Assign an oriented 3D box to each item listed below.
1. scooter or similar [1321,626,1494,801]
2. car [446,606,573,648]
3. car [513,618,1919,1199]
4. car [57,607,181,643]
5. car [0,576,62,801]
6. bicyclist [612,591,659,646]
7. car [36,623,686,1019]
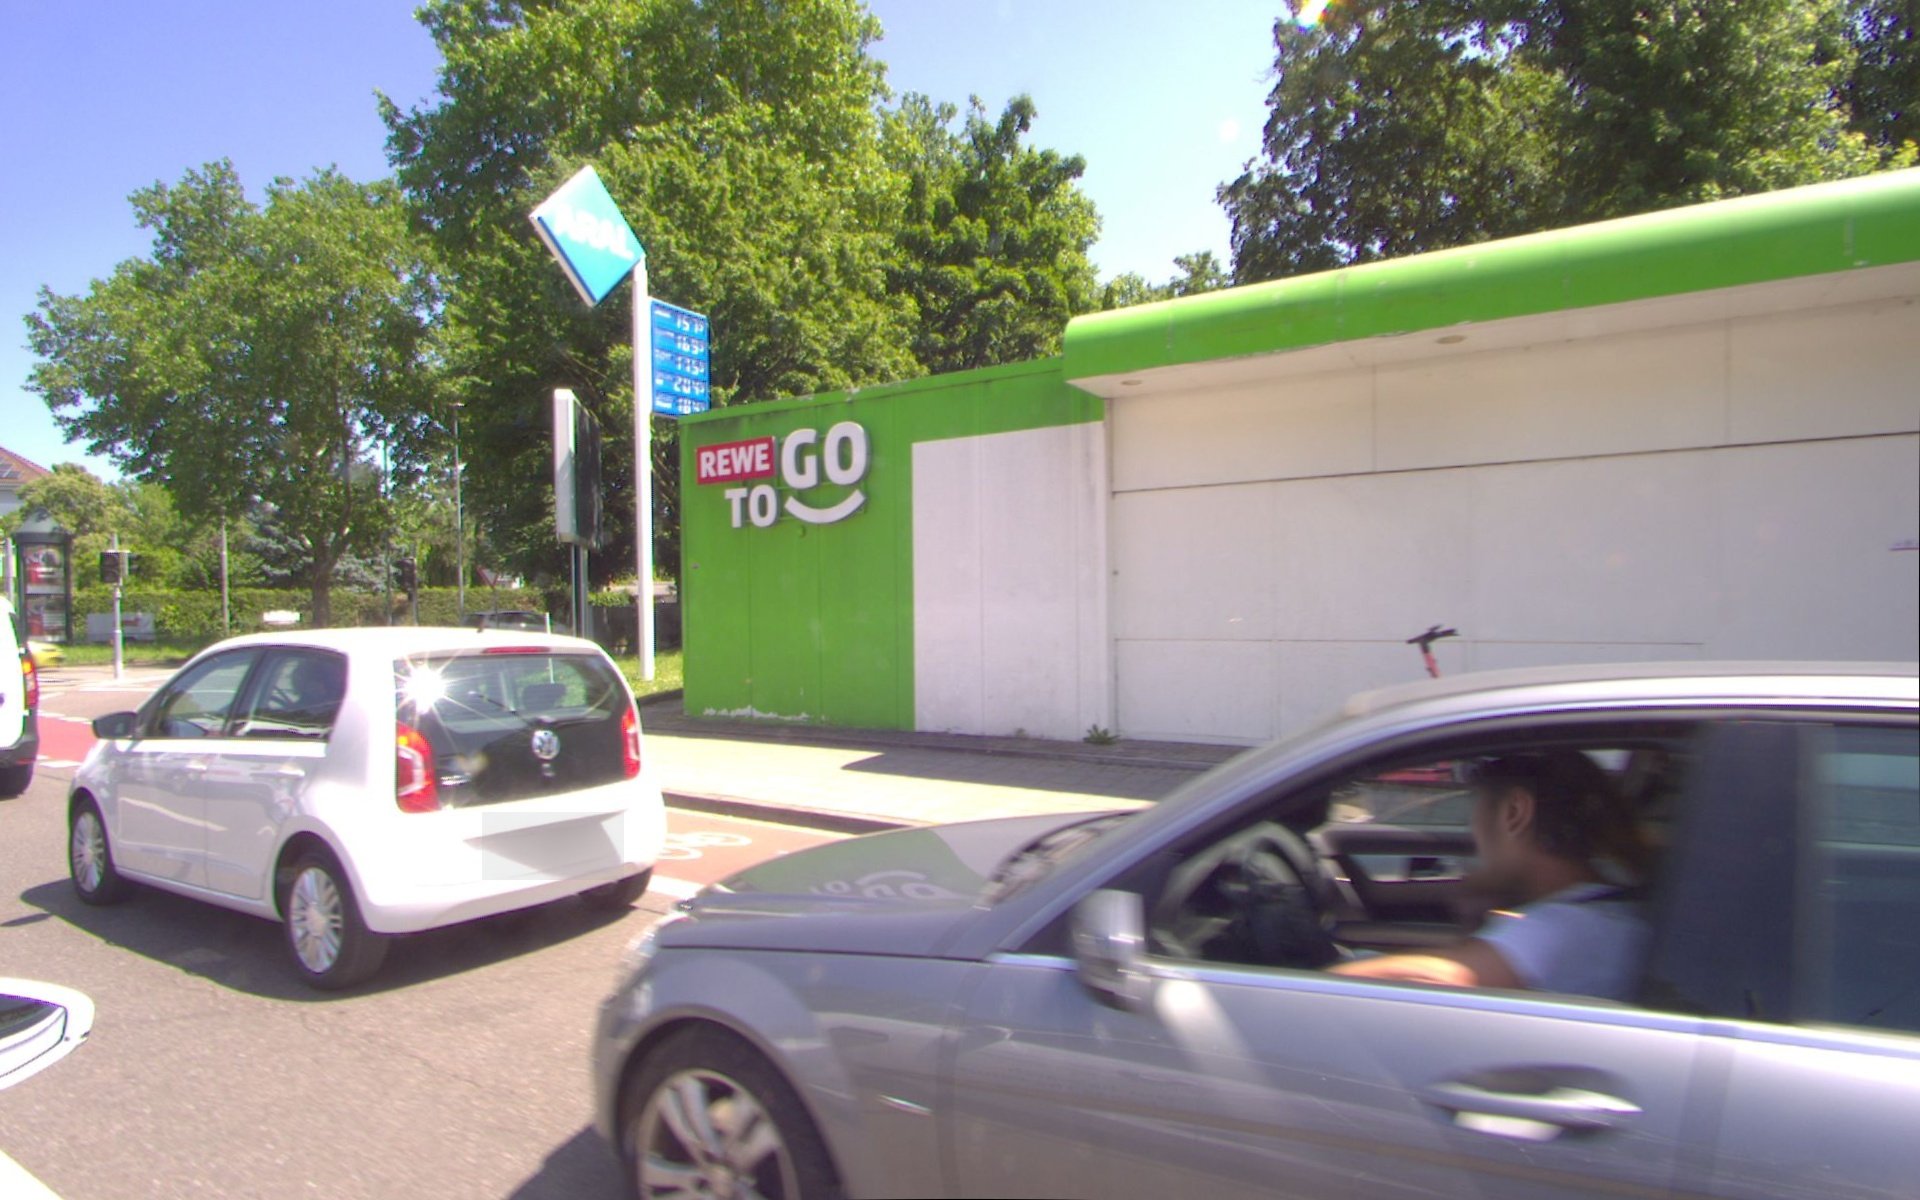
[{"bbox_3d":[3.352,0.814,7.530,1.124,1.211,0.381,-1,3,36],"label":"scooter or similar"},{"bbox_3d":[-18.701,1.066,41.727,1.973,1.638,4.427,0,0,35],"label":"car"},{"bbox_3d":[1.244,0.780,1.991,4.354,1.468,1.792,-1,0,32],"label":"car"},{"bbox_3d":[-37.625,1.089,44.868,1.976,1.528,3.970,-1,0,39],"label":"car"},{"bbox_3d":[-9.850,0.749,8.834,3.953,1.854,1.708,-1,0,30],"label":"car"},{"bbox_3d":[-10.535,0.604,32.523,1.112,1.762,0.955,0,0,22],"label":"bicyclist"},{"bbox_3d":[-3.277,0.860,5.348,3.470,1.470,1.604,-1,-1,32],"label":"car"}]
